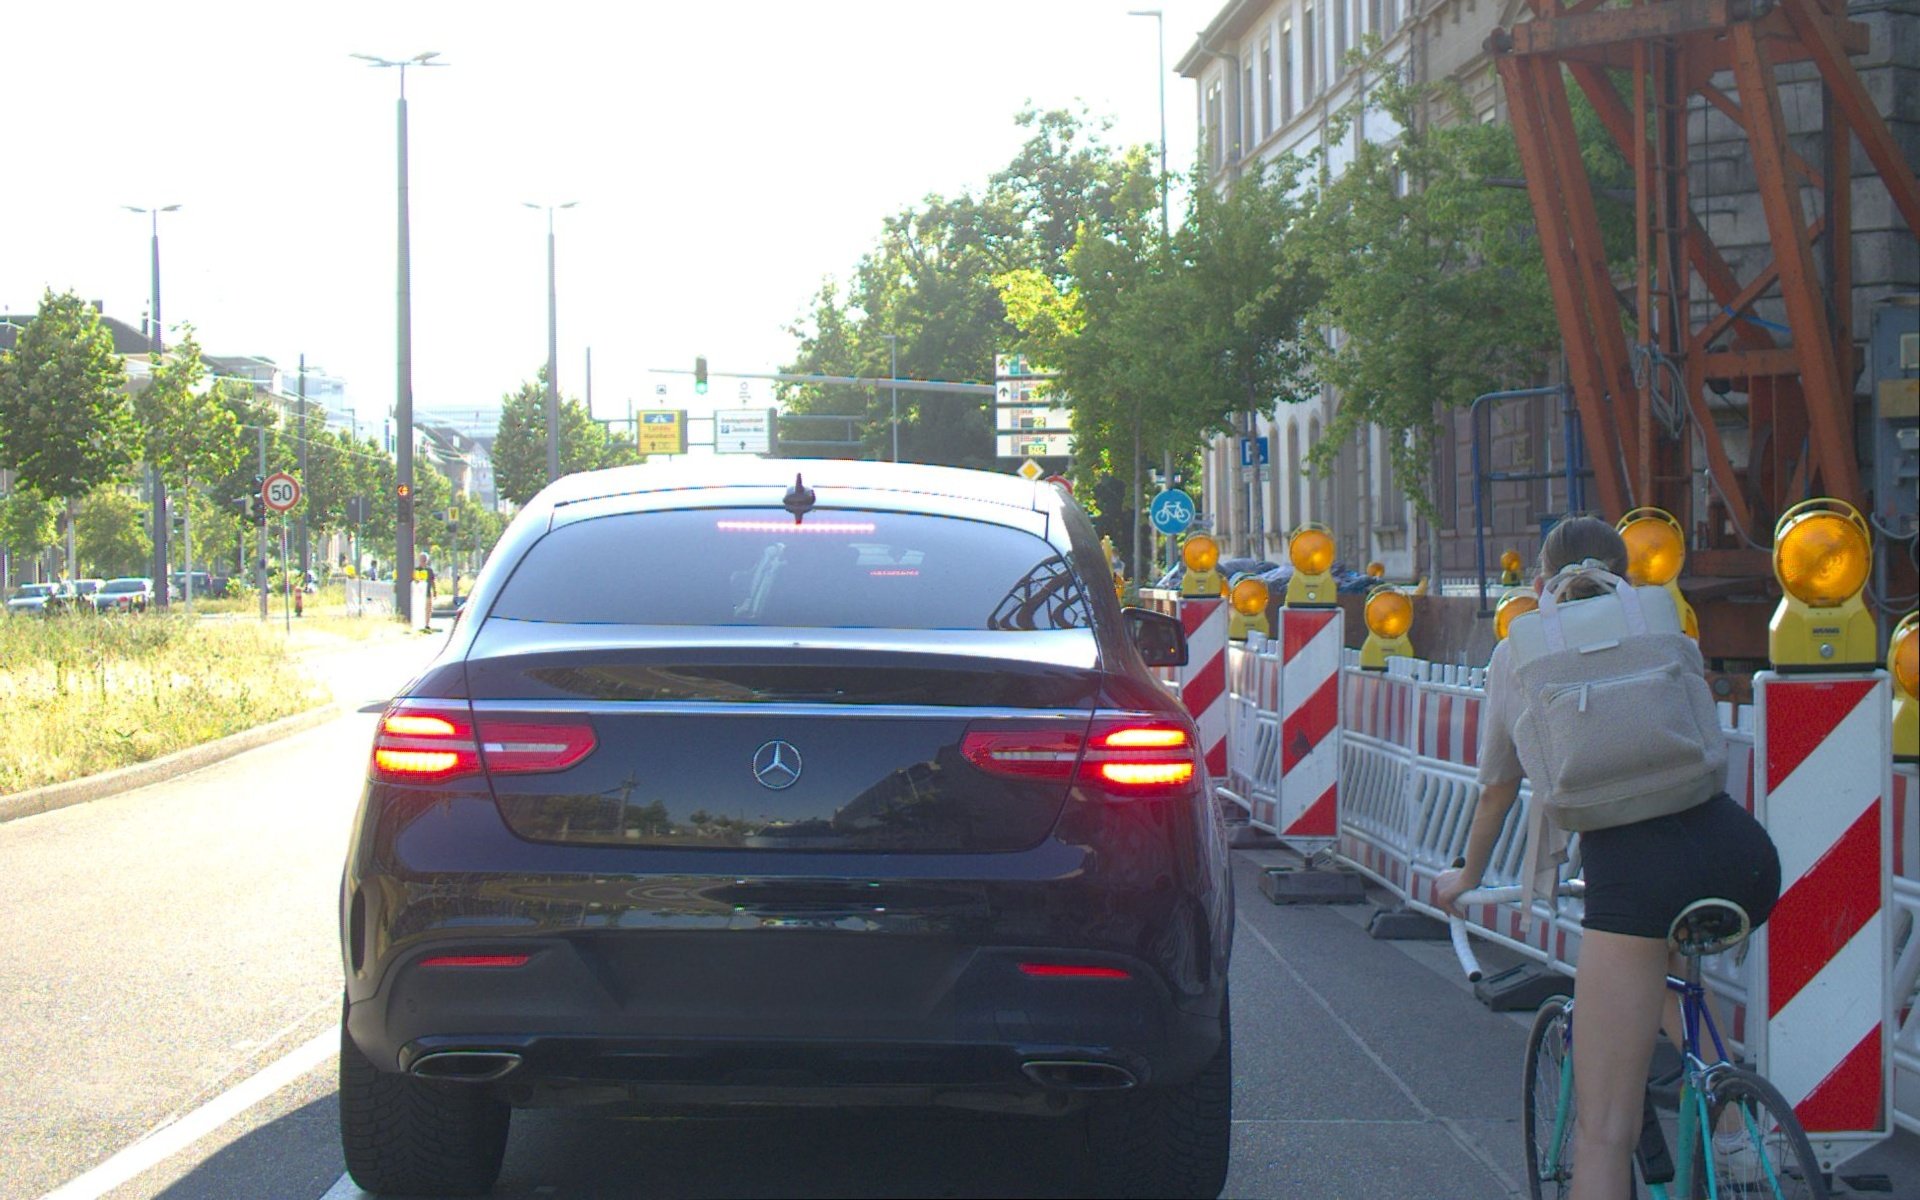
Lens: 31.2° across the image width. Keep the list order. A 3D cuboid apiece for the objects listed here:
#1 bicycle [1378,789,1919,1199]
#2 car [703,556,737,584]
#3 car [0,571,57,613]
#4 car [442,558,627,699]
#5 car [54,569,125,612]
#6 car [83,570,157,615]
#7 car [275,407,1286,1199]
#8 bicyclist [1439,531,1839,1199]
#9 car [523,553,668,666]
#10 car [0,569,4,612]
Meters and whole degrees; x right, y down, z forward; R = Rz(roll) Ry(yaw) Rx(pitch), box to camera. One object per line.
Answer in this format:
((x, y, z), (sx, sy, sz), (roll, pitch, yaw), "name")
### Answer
((1.147, 0.916, 6.043), (0.512, 1.048, 1.725), (1, 1, -3), "bicycle")
((-12.835, -1.596, 183.777), (1.708, 1.437, 3.583), (1, 1, -3), "car")
((-33.849, -0.299, 124.053), (1.708, 1.437, 3.583), (1, 1, -3), "car")
((-4.566, 0.274, 37.291), (1.708, 1.437, 3.583), (1, 1, -3), "car")
((-30.327, -0.341, 119.794), (1.708, 1.437, 3.583), (1, 1, -3), "car")
((-28.043, -0.261, 114.844), (1.708, 1.437, 3.583), (1, 1, -3), "car")
((-0.382, 0.492, 8.852), (1.993, 1.766, 4.000), (1, 1, -1), "car")
((1.152, 0.583, 5.931), (0.522, 1.391, 0.615), (1, 0, -3), "bicyclist")
((-4.858, 0.105, 46.166), (1.708, 1.437, 3.583), (1, 1, -3), "car")
((-33.170, -0.328, 114.706), (1.708, 1.437, 3.583), (1, 1, -3), "car")
